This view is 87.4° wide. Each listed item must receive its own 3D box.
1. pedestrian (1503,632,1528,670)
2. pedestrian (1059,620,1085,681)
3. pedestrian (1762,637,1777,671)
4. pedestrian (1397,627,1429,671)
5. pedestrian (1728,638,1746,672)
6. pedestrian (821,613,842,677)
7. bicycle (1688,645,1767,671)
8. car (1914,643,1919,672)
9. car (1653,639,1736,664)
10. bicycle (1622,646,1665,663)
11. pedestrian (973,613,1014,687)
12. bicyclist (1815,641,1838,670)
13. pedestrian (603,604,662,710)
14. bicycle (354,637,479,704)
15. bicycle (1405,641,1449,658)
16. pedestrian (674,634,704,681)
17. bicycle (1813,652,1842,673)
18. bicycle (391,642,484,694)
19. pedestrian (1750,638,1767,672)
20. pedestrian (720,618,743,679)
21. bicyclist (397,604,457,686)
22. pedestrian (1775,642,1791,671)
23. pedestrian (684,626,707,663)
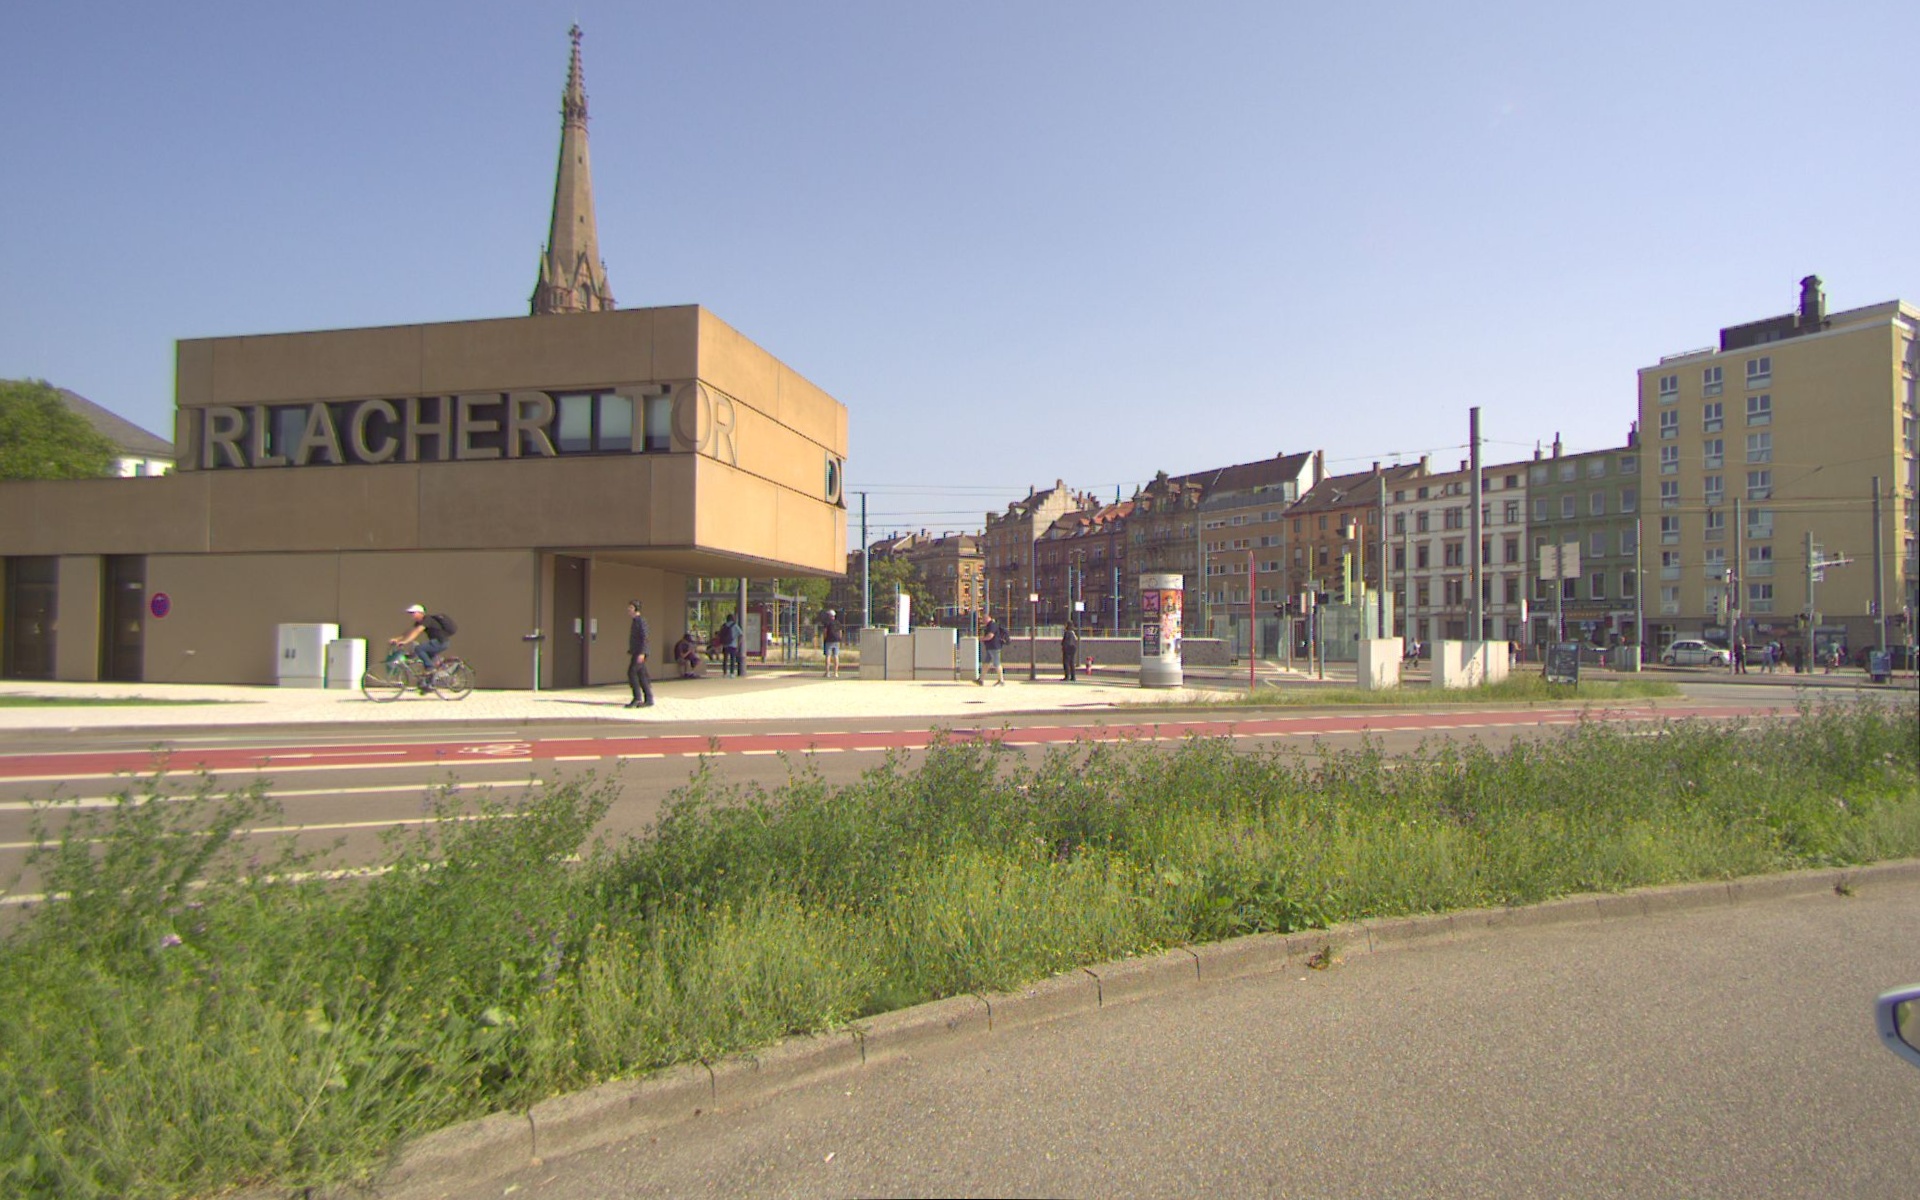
[{"bbox_3d":[27.130,2.485,49.053,0.848,1.810,0.771,-2,1,-33],"label":"pedestrian"},{"bbox_3d":[2.984,1.346,26.836,0.499,1.601,0.497,-2,0,-16],"label":"pedestrian"},{"bbox_3d":[42.059,2.813,52.197,0.447,1.707,0.440,-2,0,21],"label":"pedestrian"},{"bbox_3d":[21.610,2.306,47.959,1.010,2.040,0.953,-1,0,-30],"label":"pedestrian"},{"bbox_3d":[40.233,2.843,51.994,0.537,1.707,0.455,-2,0,-6],"label":"pedestrian"},{"bbox_3d":[-3.761,1.299,29.338,0.547,1.843,0.392,-2,0,-5],"label":"pedestrian"},{"bbox_3d":[50.111,3.764,65.654,1.182,1.572,3.965,-1,-1,-32],"label":"bicycle"},{"bbox_3d":[48.088,2.761,47.547,1.570,1.417,4.015,2,-2,-33],"label":"car"},{"bbox_3d":[43.881,3.053,60.098,1.568,1.411,3.720,2,-2,-30],"label":"car"},{"bbox_3d":[48.072,3.813,70.641,2.412,1.131,0.737,-2,0,31],"label":"bicycle"},{"bbox_3d":[0.855,1.256,25.567,0.878,1.843,0.882,-2,0,10],"label":"pedestrian"},{"bbox_3d":[43.043,2.748,49.886,0.683,1.453,0.721,2,-2,-35],"label":"bicyclist"},{"bbox_3d":[-5.788,0.984,17.817,0.833,1.802,0.875,-2,0,-10],"label":"pedestrian"},{"bbox_3d":[-9.282,1.212,17.238,1.827,1.078,0.560,2,-1,-27],"label":"bicycle"},{"bbox_3d":[39.073,4.132,84.126,0.765,1.366,3.511,-1,-1,-32],"label":"bicycle"},{"bbox_3d":[-7.076,1.495,26.225,0.513,1.187,0.596,0,-2,12],"label":"pedestrian"},{"bbox_3d":[43.142,3.090,49.947,1.715,0.997,0.723,2,-2,-35],"label":"bicycle"},{"bbox_3d":[-10.389,1.342,19.977,1.580,0.968,0.661,0,0,12],"label":"bicycle"},{"bbox_3d":[41.133,2.816,51.753,0.539,1.707,0.454,-1,0,-19],"label":"pedestrian"},{"bbox_3d":[-6.581,1.389,28.919,0.523,1.718,0.606,-2,0,-6],"label":"pedestrian"},{"bbox_3d":[-9.166,0.768,17.300,0.871,1.380,0.560,1,-1,-26],"label":"bicyclist"},{"bbox_3d":[42.655,2.926,52.074,0.489,1.507,0.440,-2,0,21],"label":"pedestrian"},{"bbox_3d":[-11.577,1.939,43.996,0.782,1.612,0.692,1,-2,-1],"label":"pedestrian"}]
